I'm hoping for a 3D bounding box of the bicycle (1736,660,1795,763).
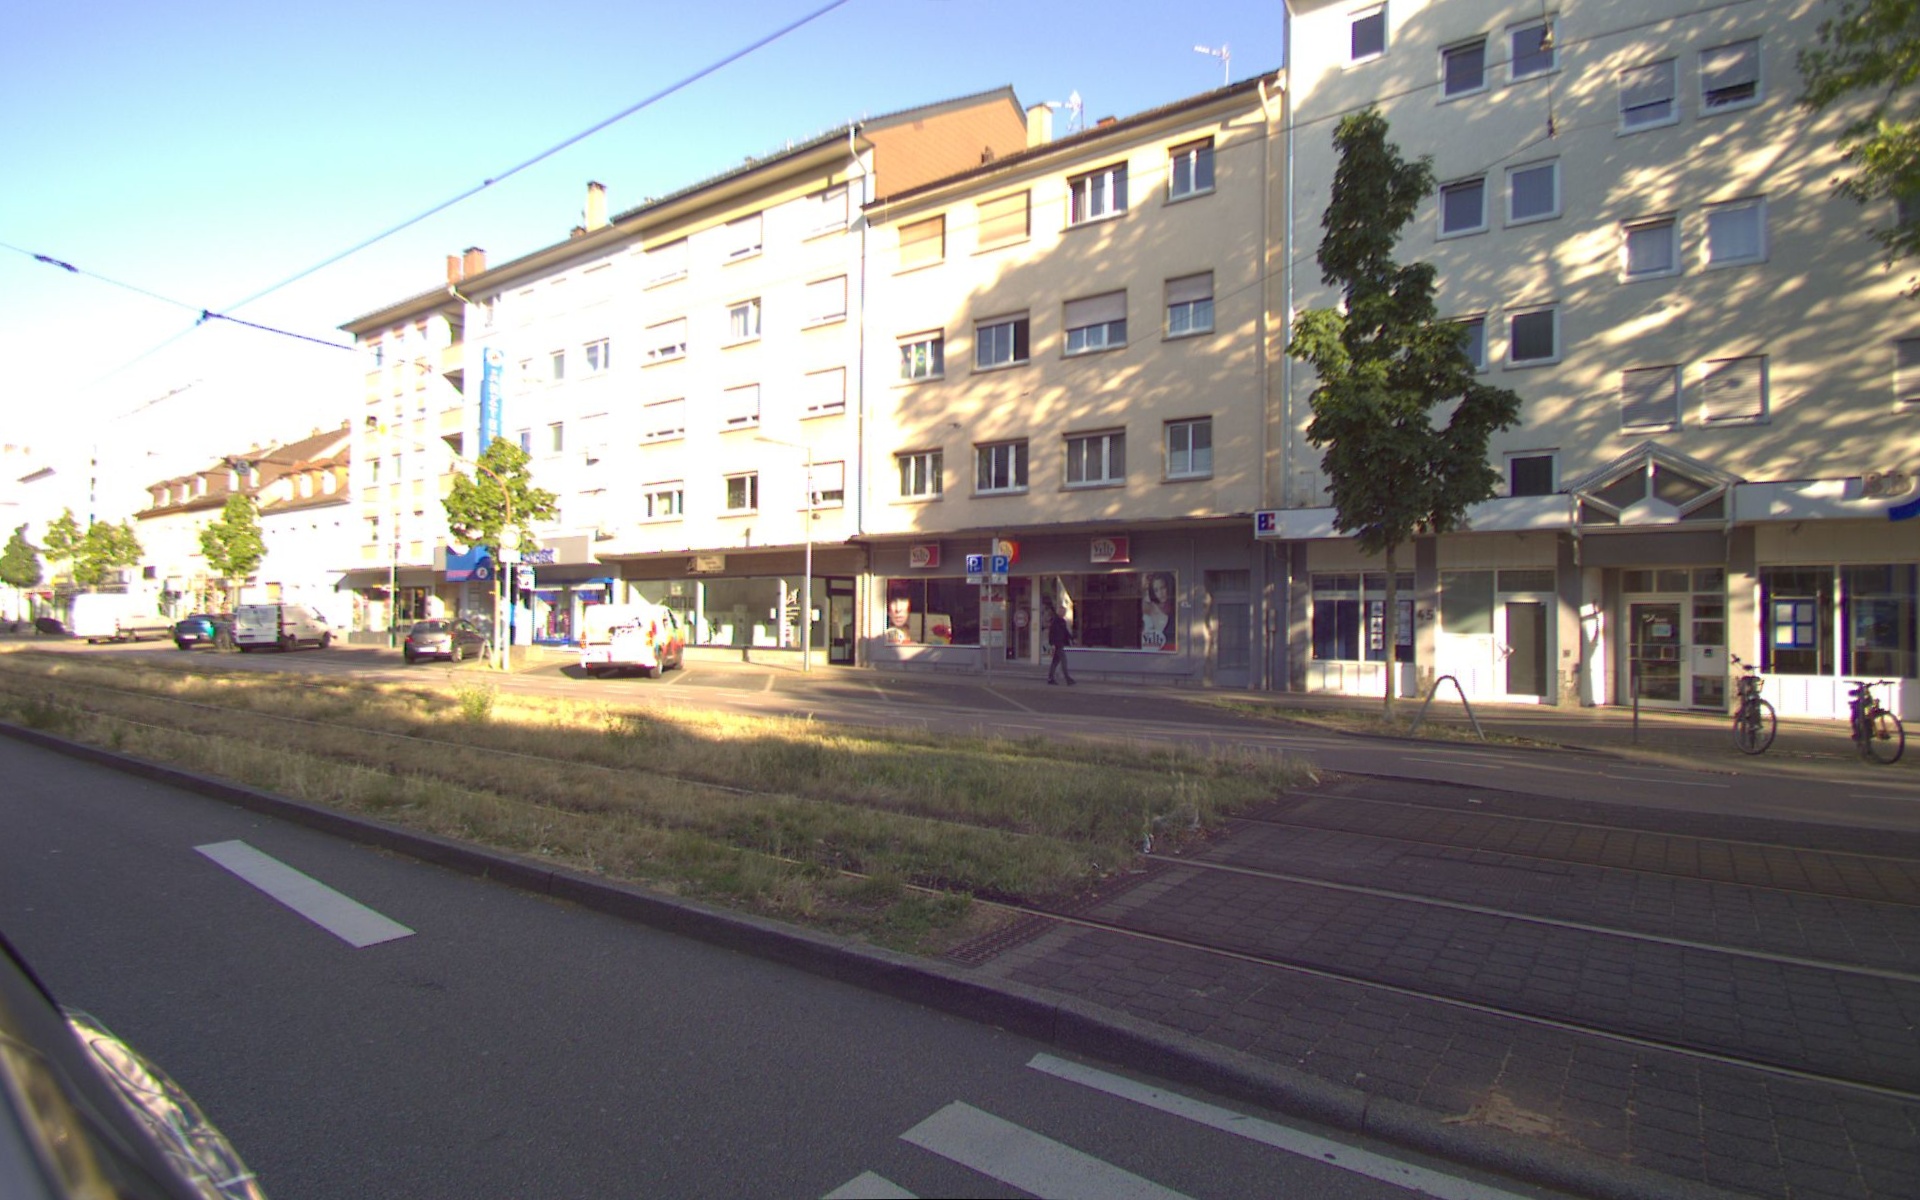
[{"bbox_3d":[10.299,1.385,12.972,0.511,1.147,1.724,-1,-1,36],"label":"bicycle"}]

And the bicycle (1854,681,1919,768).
[{"bbox_3d":[11.333,1.486,12.351,0.471,0.895,1.724,-1,-1,36],"label":"bicycle"}]

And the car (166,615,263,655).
[{"bbox_3d":[-34.170,1.561,46.523,1.830,1.727,3.919,0,0,-4],"label":"car"}]

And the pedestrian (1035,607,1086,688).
[{"bbox_3d":[2.322,1.084,23.464,0.916,1.841,0.747,-1,-1,41],"label":"pedestrian"}]

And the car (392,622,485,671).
[{"bbox_3d":[-17.582,1.523,34.319,1.708,1.508,4.009,0,0,-10],"label":"car"}]

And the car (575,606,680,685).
[{"bbox_3d":[-8.810,1.151,27.127,1.830,1.913,4.005,0,0,-6],"label":"car"}]

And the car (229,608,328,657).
[{"bbox_3d":[-28.649,1.308,42.726,1.828,1.952,4.514,0,0,-10],"label":"car"}]

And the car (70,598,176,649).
[{"bbox_3d":[-45.359,1.220,55.067,1.895,2.634,6.608,0,0,-16],"label":"car"}]
